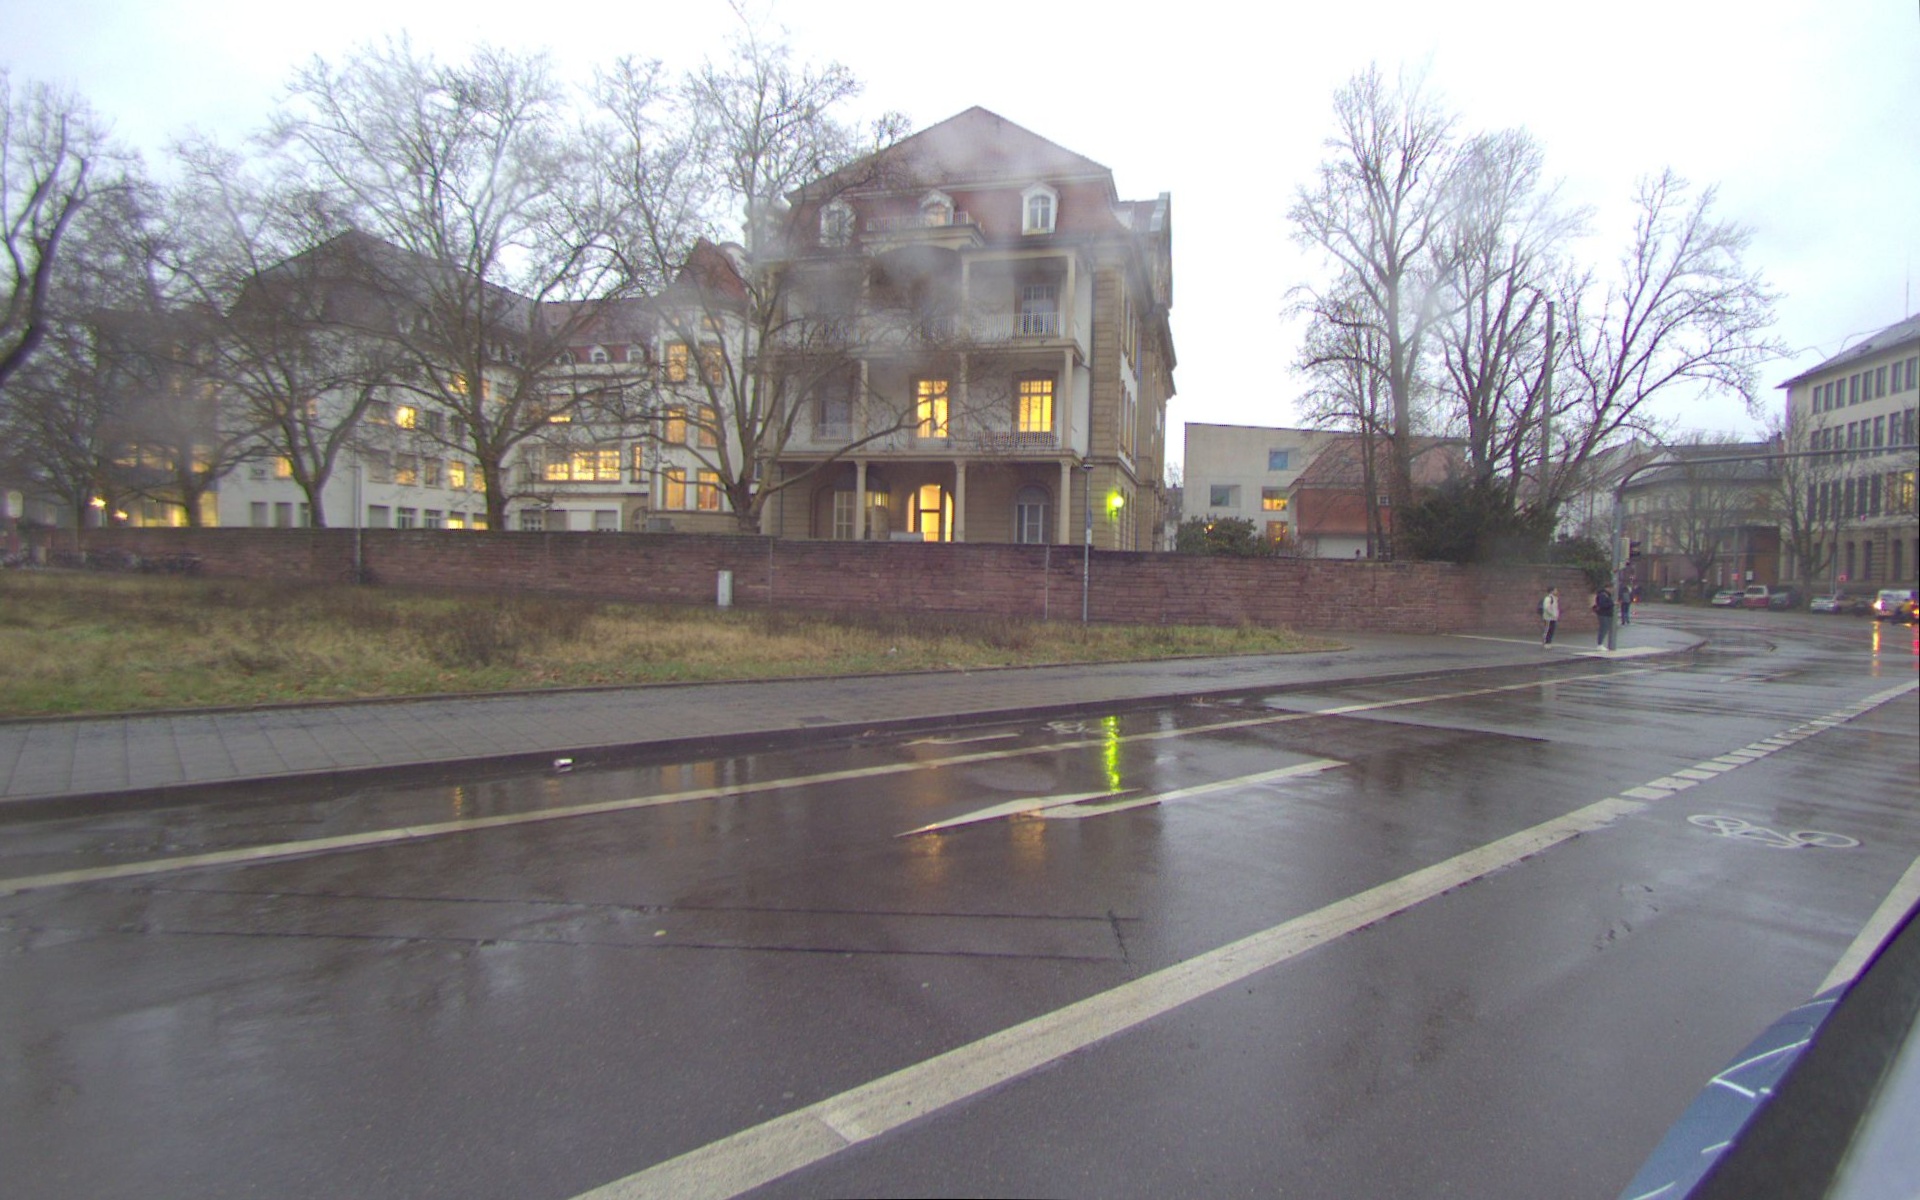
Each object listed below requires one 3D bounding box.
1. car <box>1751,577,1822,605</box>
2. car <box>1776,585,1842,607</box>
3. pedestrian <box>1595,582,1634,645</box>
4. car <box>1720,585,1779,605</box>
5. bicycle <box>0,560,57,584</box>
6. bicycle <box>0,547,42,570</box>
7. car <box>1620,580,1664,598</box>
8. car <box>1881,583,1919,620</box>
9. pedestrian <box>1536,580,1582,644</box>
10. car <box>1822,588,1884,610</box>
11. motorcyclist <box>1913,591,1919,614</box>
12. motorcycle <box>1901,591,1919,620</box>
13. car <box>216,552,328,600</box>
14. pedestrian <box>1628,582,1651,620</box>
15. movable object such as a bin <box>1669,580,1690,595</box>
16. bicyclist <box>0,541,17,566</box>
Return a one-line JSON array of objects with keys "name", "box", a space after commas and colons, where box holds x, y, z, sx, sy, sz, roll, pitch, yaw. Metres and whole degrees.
[{"name": "car", "box": [65.325, -0.758, 80.010, 4.526, 2.079, 1.970, -1, 2, -12]}, {"name": "car", "box": [64.713, -0.321, 77.134, 3.894, 1.558, 1.828, -1, 2, -12]}, {"name": "pedestrian", "box": [18.266, 0.368, 28.253, 0.788, 1.696, 0.720, 4, 3, 37]}, {"name": "car", "box": [66.832, -0.425, 85.697, 4.097, 1.610, 1.779, -1, 2, -14]}, {"name": "bicycle", "box": [-41.486, -1.234, 44.681, 2.371, 1.003, 0.479, -3, 2, -41]}, {"name": "bicycle", "box": [-42.225, -1.849, 44.774, 2.371, 1.003, 0.537, -3, 2, -41]}, {"name": "car", "box": [59.319, -0.964, 88.135, 1.727, 1.395, 4.348, 3, 3, 14]}, {"name": "car", "box": [58.511, 0.045, 61.494, 4.704, 2.058, 1.917, -2, 2, -22]}, {"name": "pedestrian", "box": [16.661, 0.317, 28.167, 0.953, 1.696, 0.772, 3, 2, 28]}, {"name": "car", "box": [63.807, -0.085, 72.313, 3.747, 1.475, 1.641, -2, 2, -18]}, {"name": "motorcyclist", "box": [51.364, 0.134, 53.978, 0.531, 1.208, 0.607, 0, 1, 20]}, {"name": "motorcycle", "box": [51.395, 0.322, 54.006, 0.821, 1.515, 2.300, 2, 2, 20]}, {"name": "car", "box": [-15.534, -0.563, 22.966, 1.275, 0.989, 2.688, 2, 2, -16]}, {"name": "pedestrian", "box": [31.606, 0.015, 47.085, 0.802, 1.705, 1.143, 4, 2, 33]}, {"name": "movable object such as a bin", "box": [69.123, -1.212, 97.227, 0.966, 1.482, 1.347, -2, 2, -22]}, {"name": "bicyclist", "box": [-41.768, -2.023, 44.267, 0.689, 1.093, 0.494, -2, 2, -40]}]
